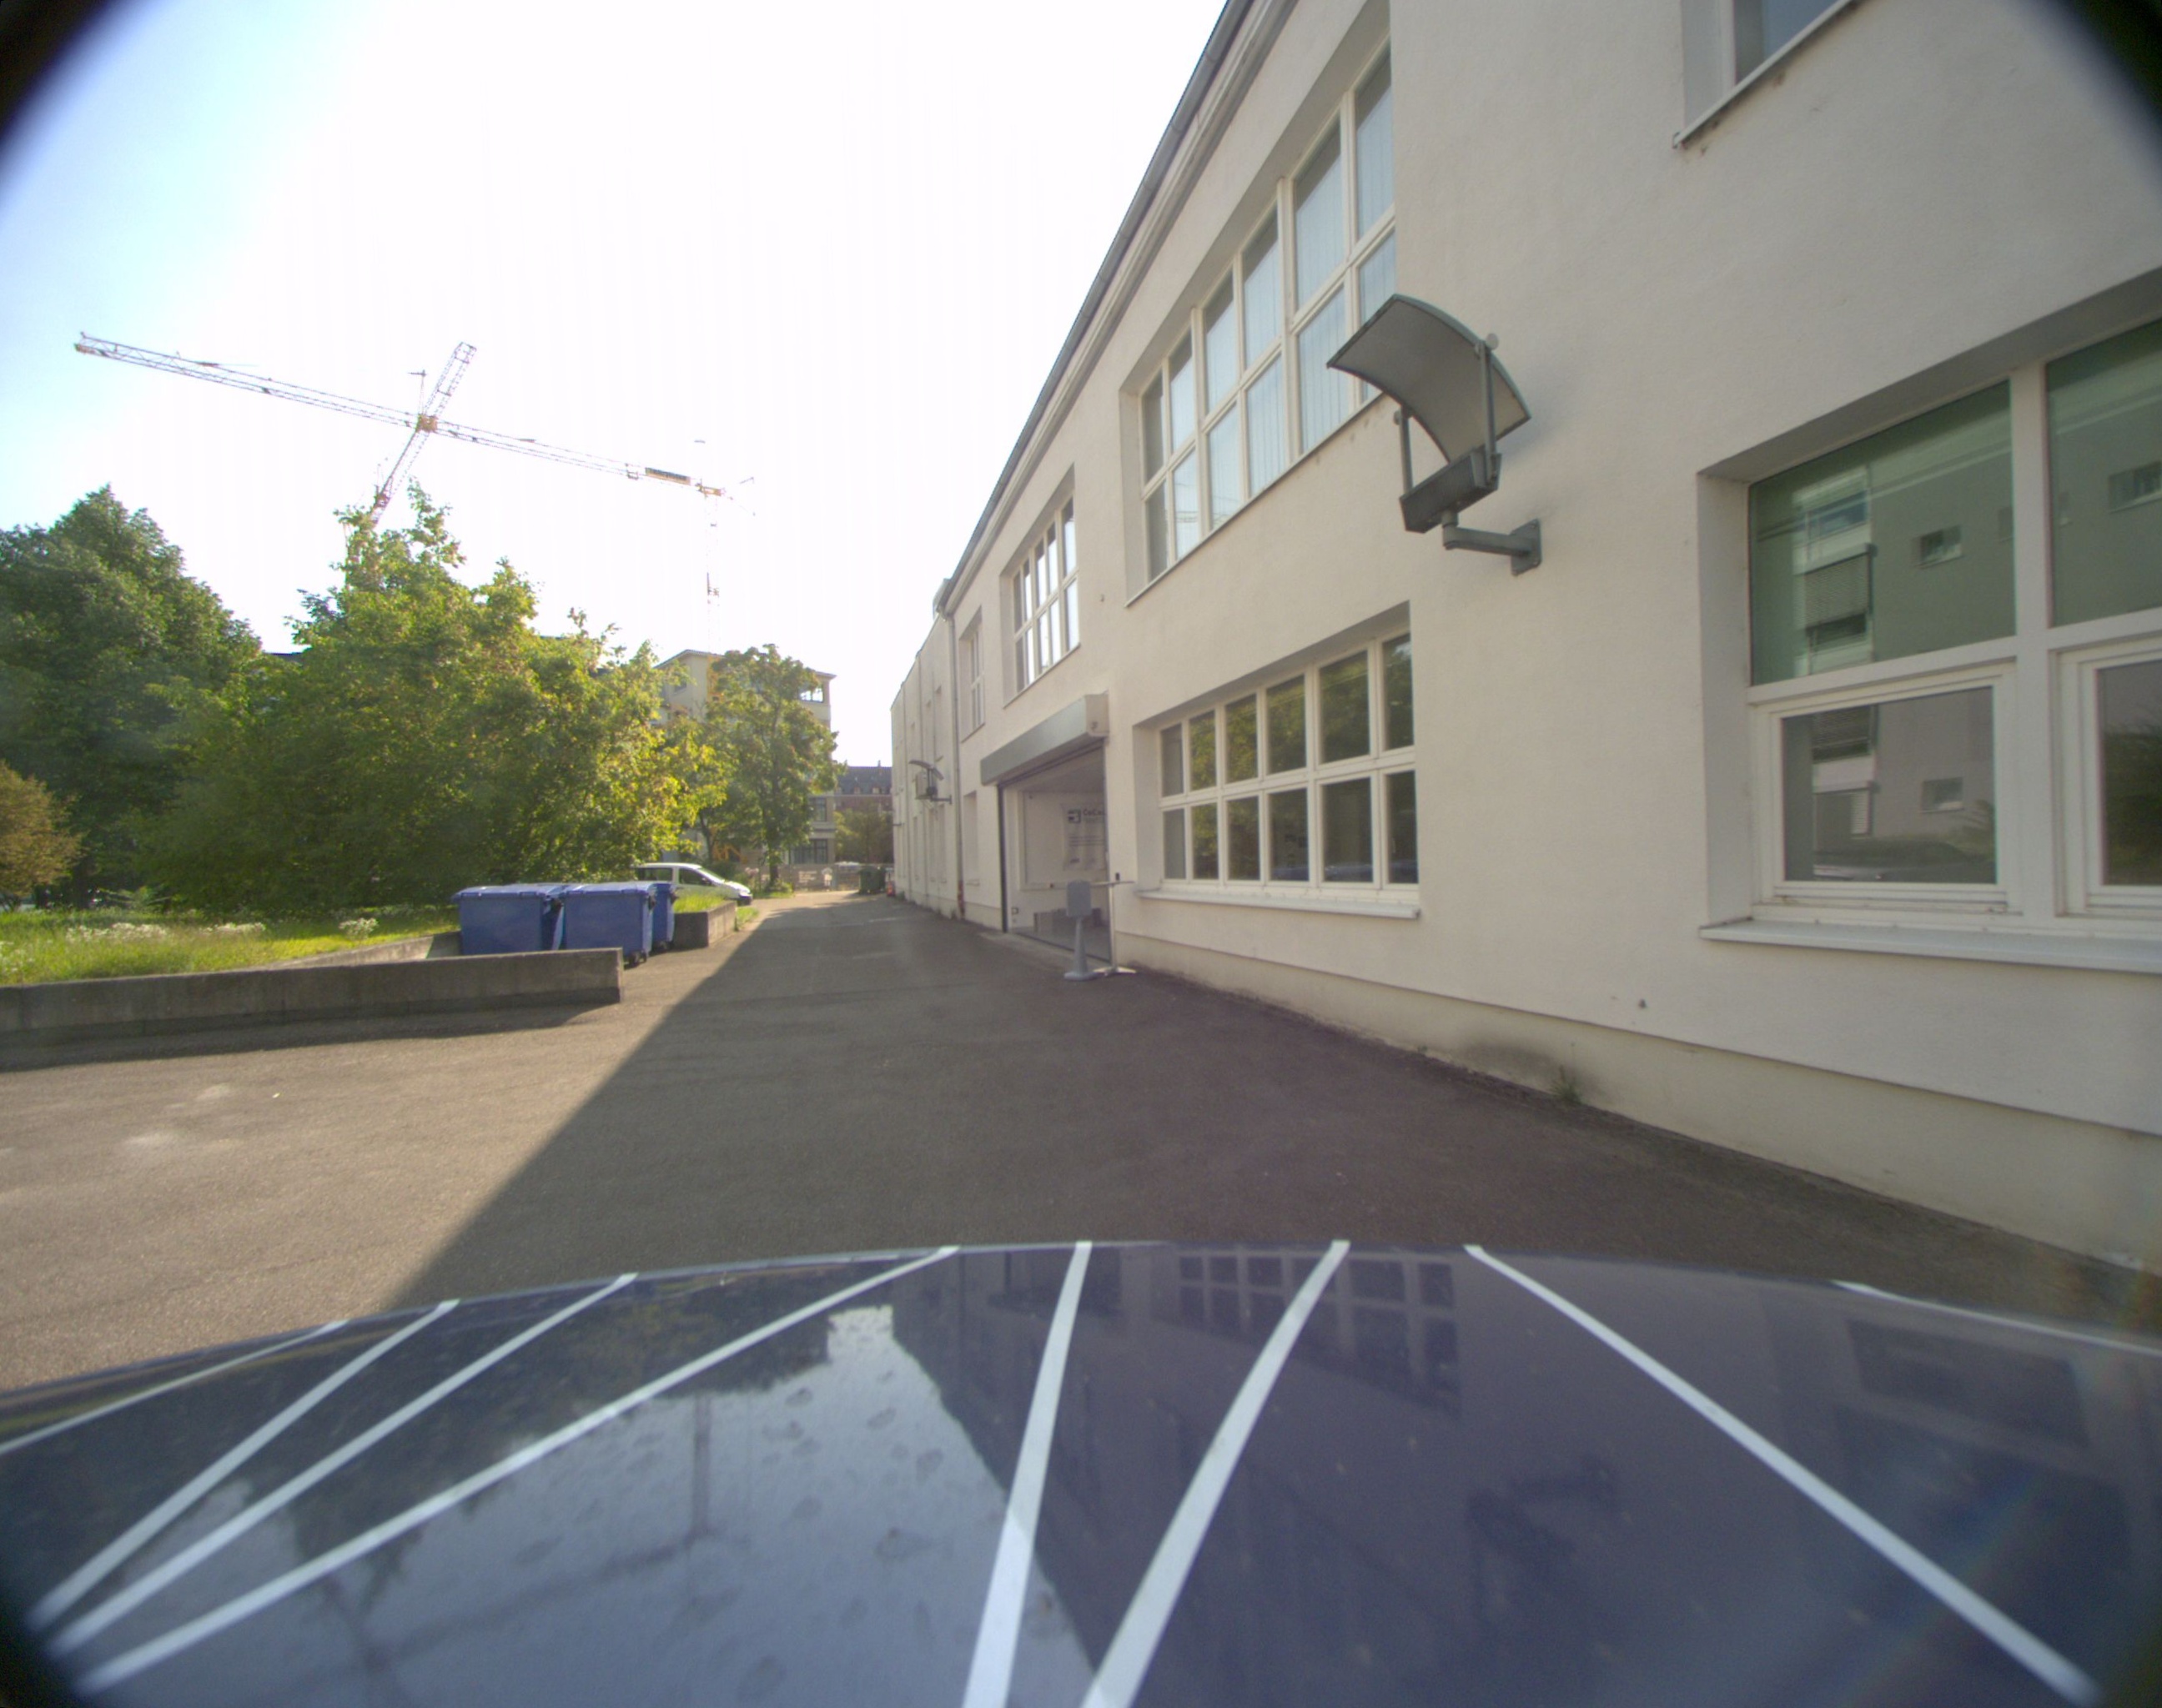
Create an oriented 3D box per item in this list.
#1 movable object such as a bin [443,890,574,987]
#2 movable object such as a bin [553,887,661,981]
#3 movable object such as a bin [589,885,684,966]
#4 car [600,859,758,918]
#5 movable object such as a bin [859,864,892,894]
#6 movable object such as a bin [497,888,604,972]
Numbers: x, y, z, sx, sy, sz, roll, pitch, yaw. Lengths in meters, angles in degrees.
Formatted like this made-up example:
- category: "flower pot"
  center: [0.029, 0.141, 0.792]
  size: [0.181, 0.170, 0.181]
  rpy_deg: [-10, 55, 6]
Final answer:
- category: "movable object such as a bin"
  center: [-8.945, 1.278, 11.959]
  size: [1.259, 1.320, 1.273]
  rpy_deg: [-2, 0, -18]
- category: "movable object such as a bin"
  center: [-7.665, 1.254, 12.369]
  size: [1.215, 1.343, 1.273]
  rpy_deg: [-2, 0, -21]
- category: "movable object such as a bin"
  center: [-8.073, 1.266, 13.886]
  size: [1.201, 1.320, 1.273]
  rpy_deg: [-2, 0, -18]
- category: "car"
  center: [-14.584, 1.228, 27.910]
  size: [4.797, 1.920, 1.906]
  rpy_deg: [-1, 0, -17]
- category: "movable object such as a bin"
  center: [-10.650, 1.283, 39.321]
  size: [1.527, 1.457, 1.273]
  rpy_deg: [-2, 0, -18]
- category: "movable object such as a bin"
  center: [-9.363, 1.301, 13.488]
  size: [1.201, 1.320, 1.273]
  rpy_deg: [-2, 0, -18]
